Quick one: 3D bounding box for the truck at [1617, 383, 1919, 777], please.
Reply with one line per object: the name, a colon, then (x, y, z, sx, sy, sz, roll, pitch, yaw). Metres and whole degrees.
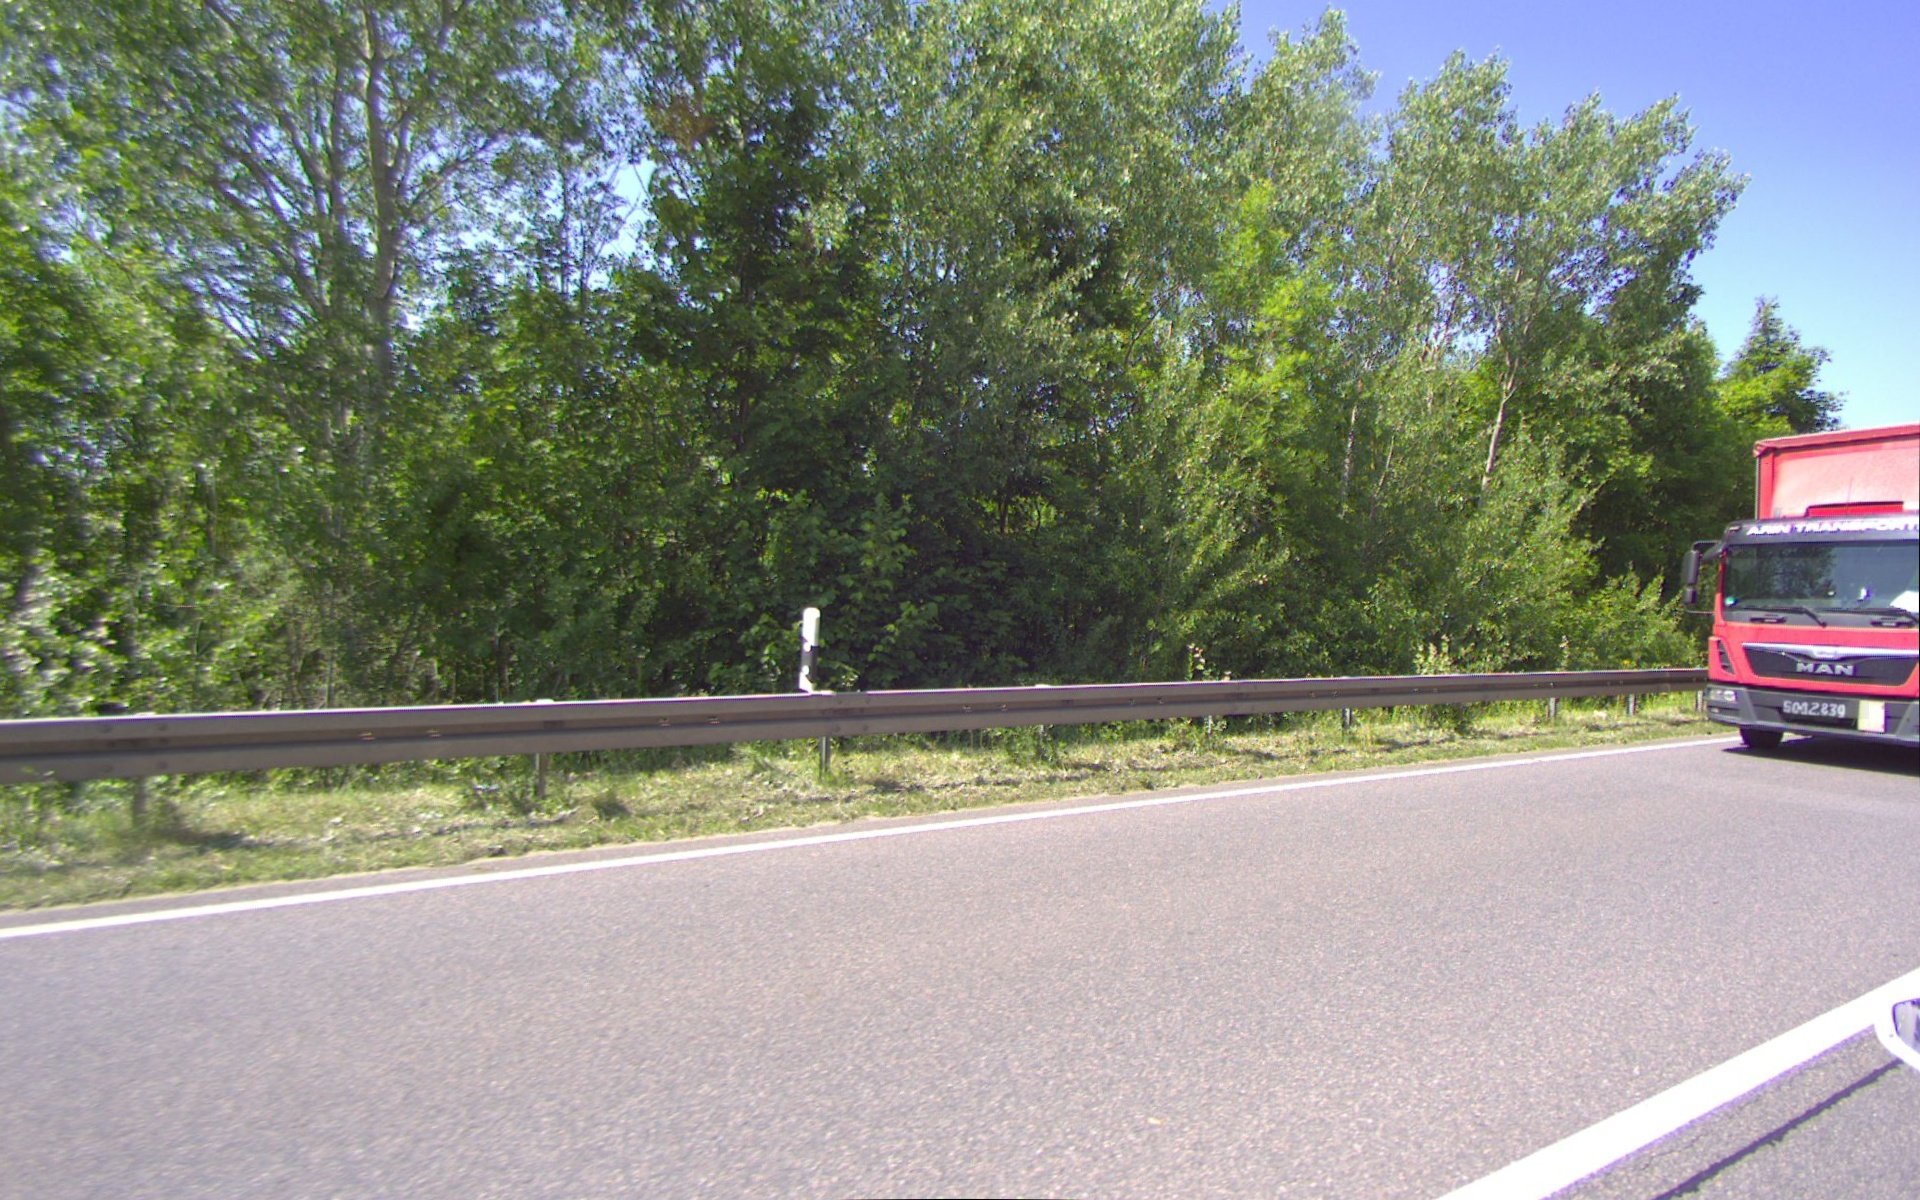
truck: (12.403, -0.118, 12.809, 8.904, 3.749, 3.175, 1, 0, -31)
